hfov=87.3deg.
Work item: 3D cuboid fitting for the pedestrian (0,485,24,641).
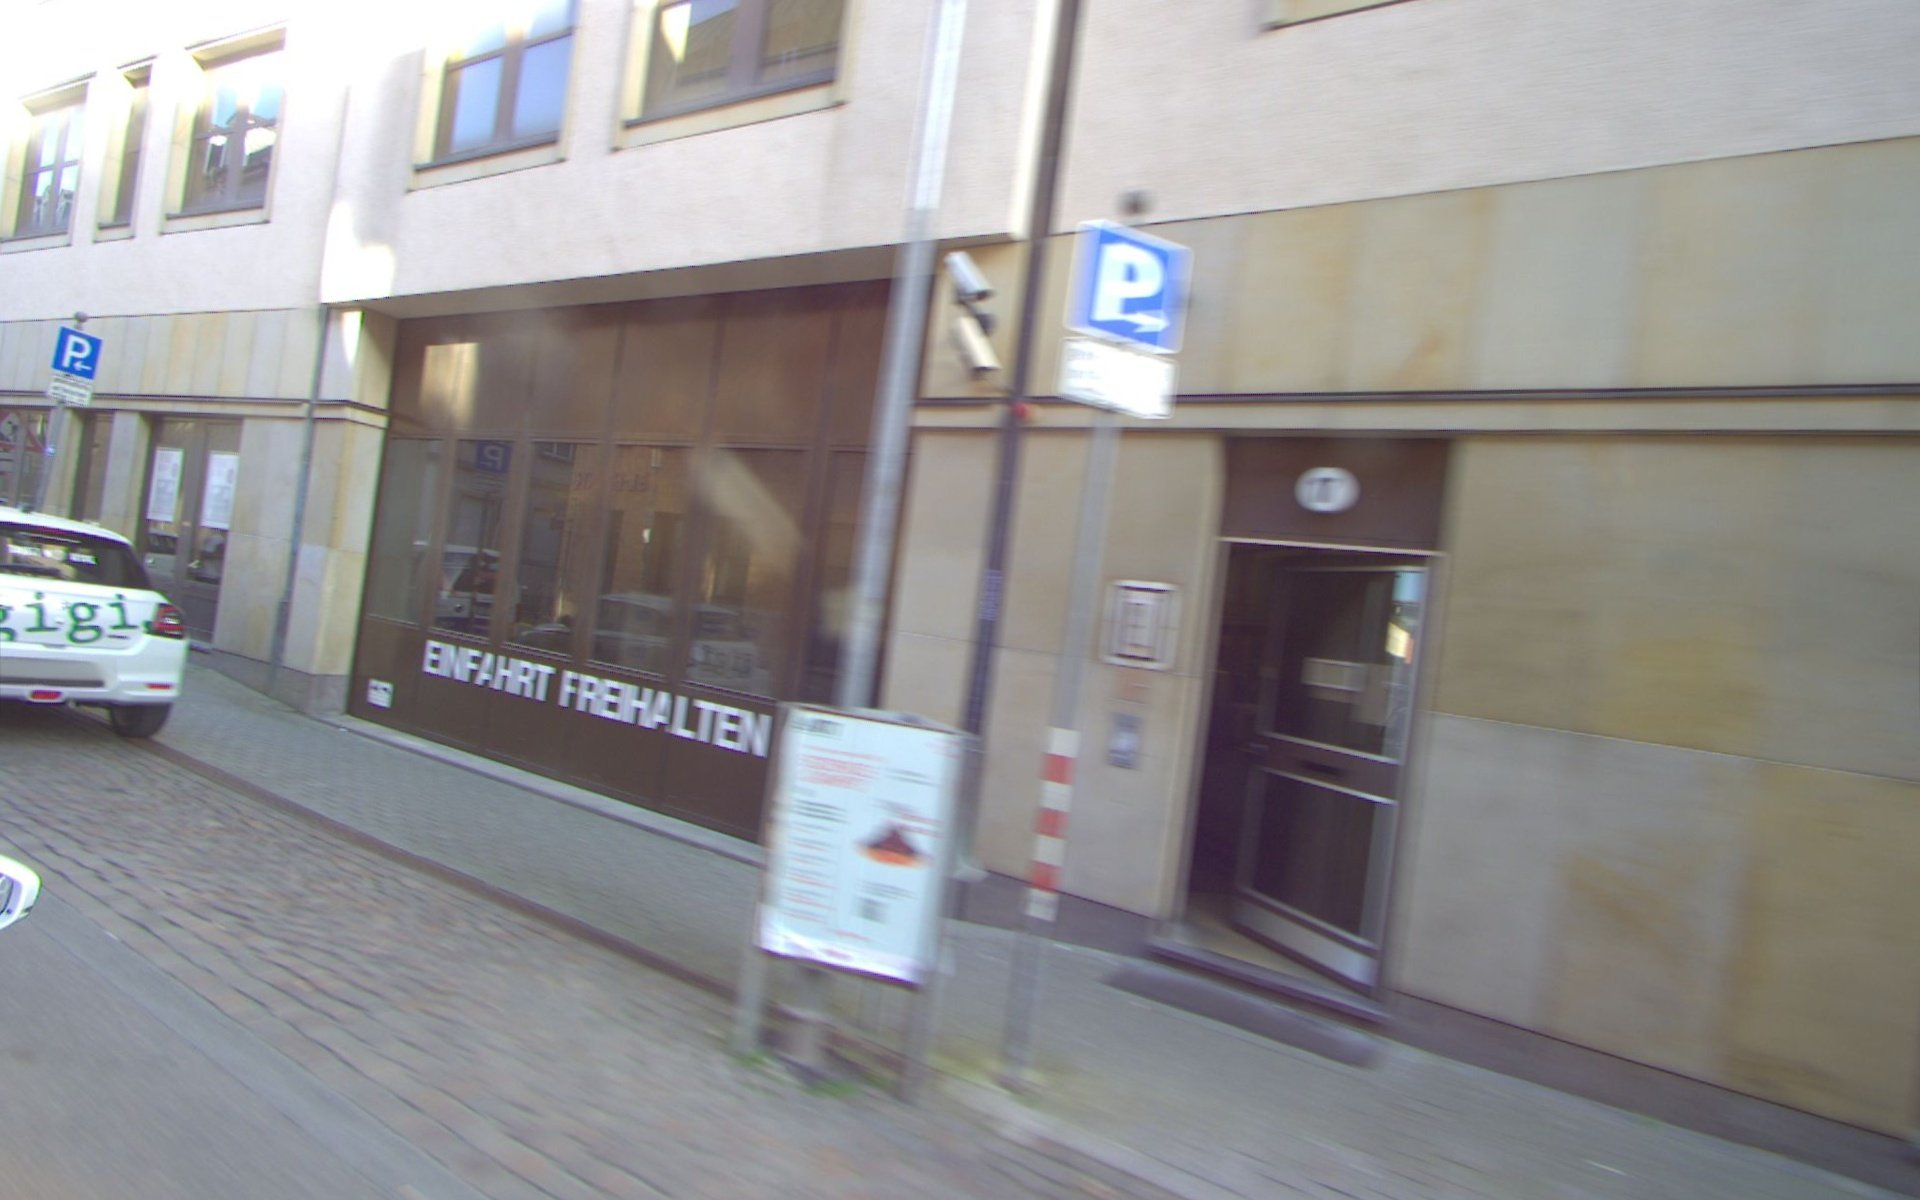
[{"bbox_3d":[-11.956,-0.523,11.743,1.178,1.822,1.044,6,-1,29],"label":"pedestrian"}]

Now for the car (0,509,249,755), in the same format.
[{"bbox_3d":[-7.474,0.029,7.457,4.096,1.493,1.847,7,-4,29],"label":"car"}]
